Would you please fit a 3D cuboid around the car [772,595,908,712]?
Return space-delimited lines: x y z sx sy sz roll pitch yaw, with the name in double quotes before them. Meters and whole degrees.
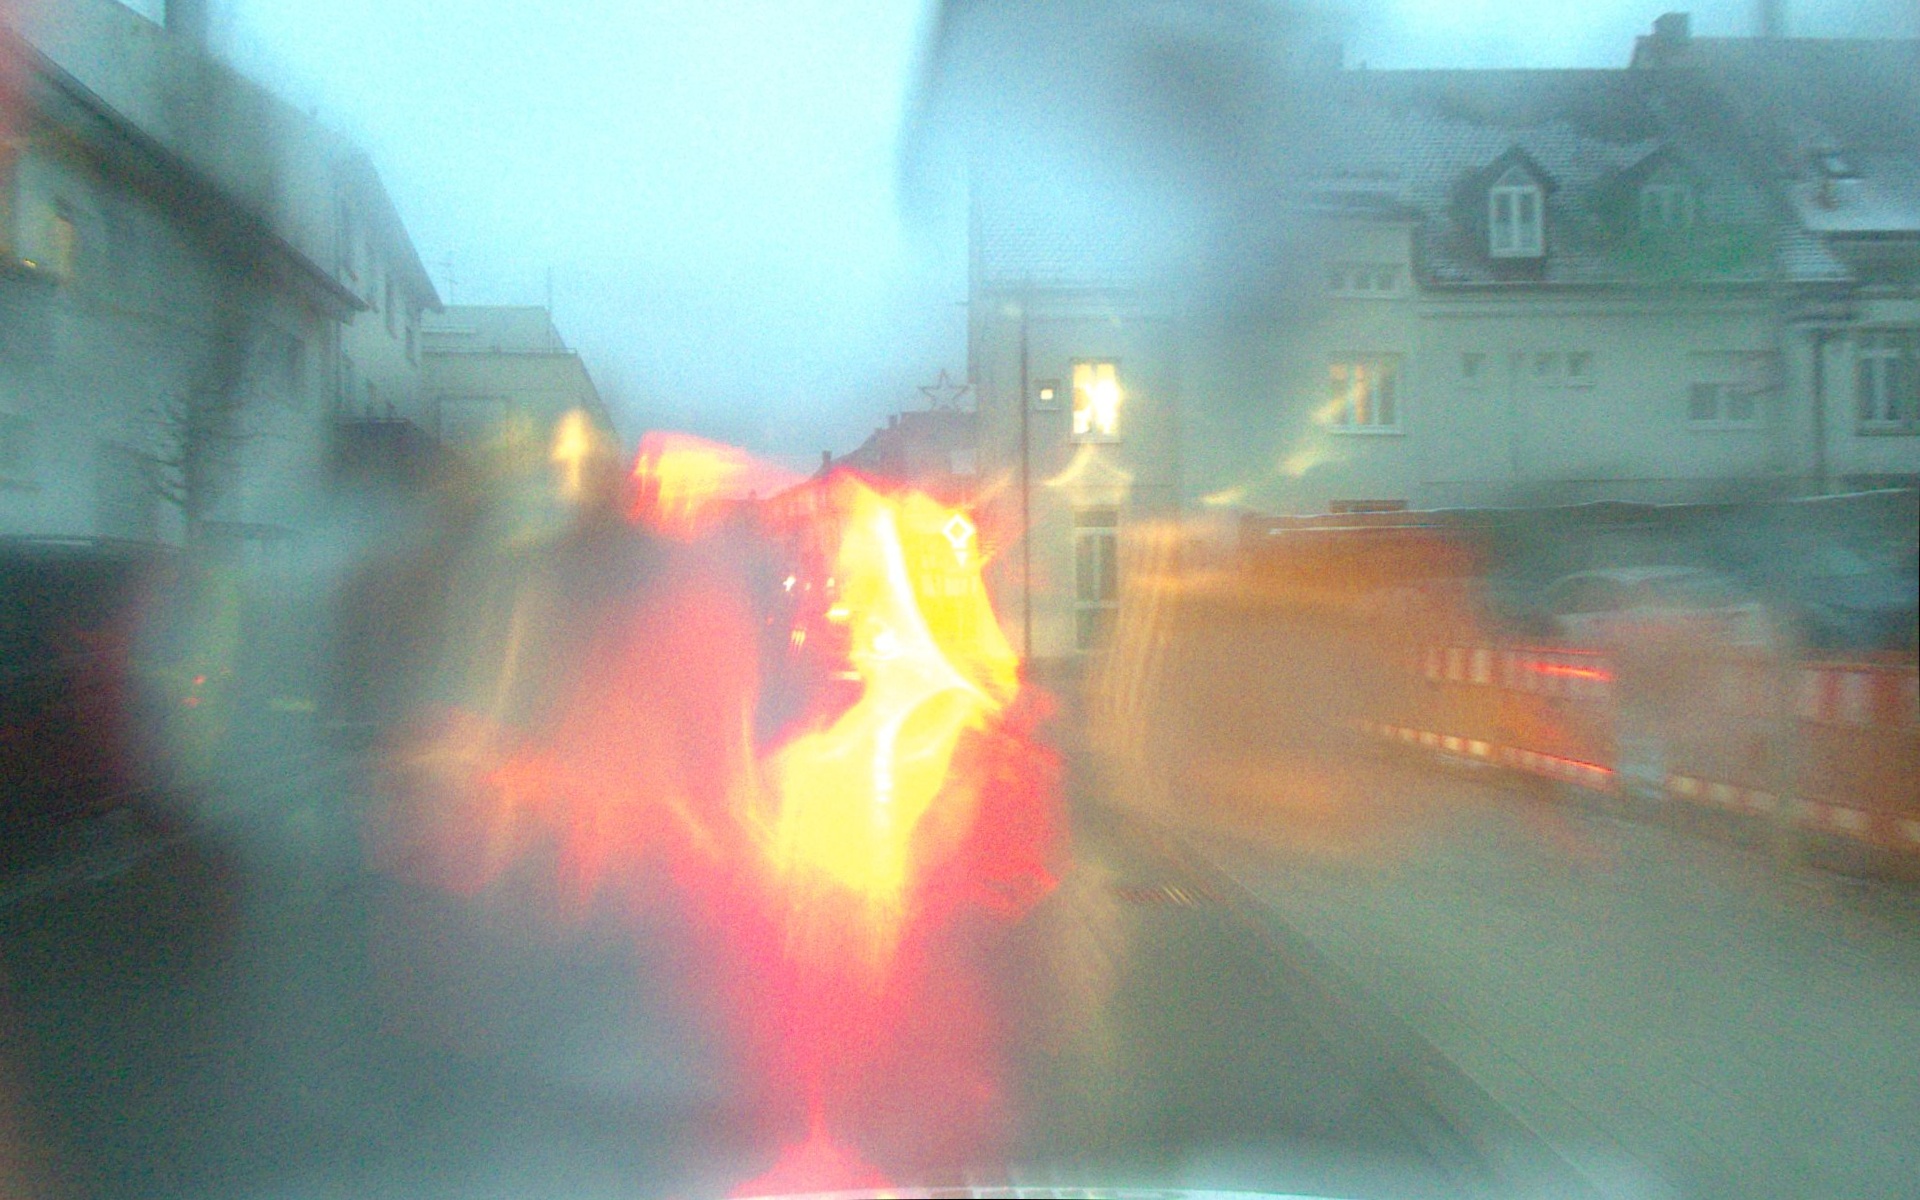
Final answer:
"car" -1.837 0.729 24.293 1.780 1.560 3.994 0 0 -7

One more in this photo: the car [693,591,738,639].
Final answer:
"car" -11.825 0.712 80.274 1.955 2.241 3.995 0 0 -6

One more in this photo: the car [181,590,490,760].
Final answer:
"car" -6.842 0.734 18.701 1.874 1.556 4.544 4 0 -3

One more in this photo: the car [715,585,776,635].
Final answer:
"car" -7.298 0.335 56.080 1.956 1.616 3.992 0 0 -8

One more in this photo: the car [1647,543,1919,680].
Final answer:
"car" 10.590 0.093 20.825 1.786 1.488 4.546 -3 0 -2

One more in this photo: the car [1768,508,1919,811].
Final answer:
"car" 6.628 0.310 9.327 1.953 1.796 4.350 -3 0 0

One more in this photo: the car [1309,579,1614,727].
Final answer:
"car" 5.563 0.537 18.823 1.853 1.488 3.624 -1 0 -11

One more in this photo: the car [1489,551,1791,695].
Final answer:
"car" 7.978 0.243 19.778 1.689 1.488 3.626 -3 0 -8
